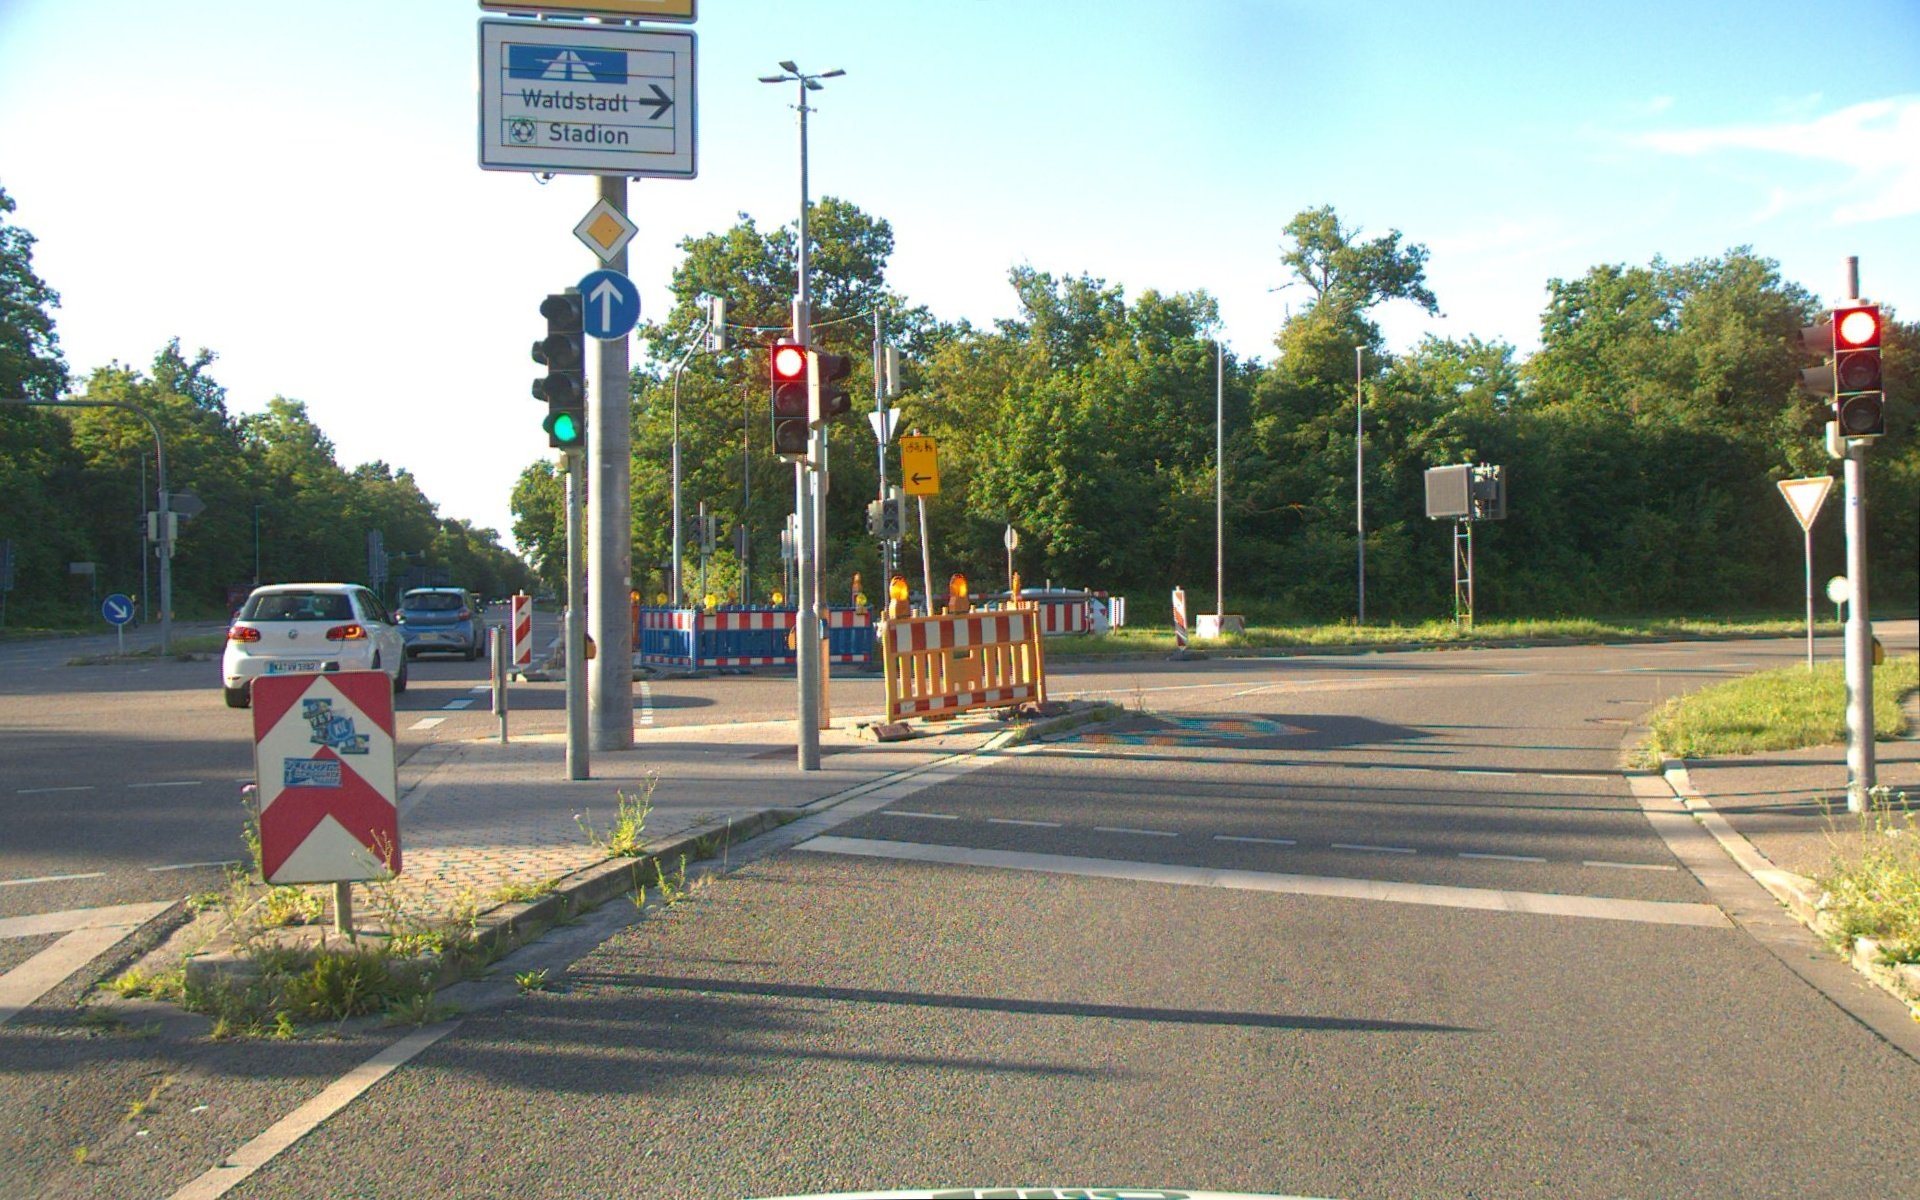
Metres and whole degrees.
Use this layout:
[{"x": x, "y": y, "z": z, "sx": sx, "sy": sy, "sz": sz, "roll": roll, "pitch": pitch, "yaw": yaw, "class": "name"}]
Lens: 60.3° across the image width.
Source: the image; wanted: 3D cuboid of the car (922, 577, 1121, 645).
[{"x": 1.576, "y": 0.244, "z": 41.738, "sx": 4.773, "sy": 1.608, "sz": 1.977, "roll": -1, "pitch": 0, "yaw": -33, "class": "car"}]

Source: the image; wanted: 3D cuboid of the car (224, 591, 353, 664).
[{"x": -14.388, "y": 0.548, "z": 35.644, "sx": 1.830, "sy": 1.469, "sz": 3.989, "roll": 0, "pitch": 0, "yaw": -11, "class": "car"}]

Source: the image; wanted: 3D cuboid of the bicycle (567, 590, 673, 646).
[{"x": -8.823, "y": 0.447, "z": 43.021, "sx": 2.619, "sy": 1.407, "sz": 0.953, "roll": 0, "pitch": 0, "yaw": -44, "class": "bicycle"}]

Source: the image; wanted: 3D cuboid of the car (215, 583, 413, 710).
[{"x": -8.160, "y": 0.526, "z": 21.222, "sx": 1.908, "sy": 1.439, "sz": 3.984, "roll": -1, "pitch": 0, "yaw": -15, "class": "car"}]

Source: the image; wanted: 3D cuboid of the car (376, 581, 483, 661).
[{"x": -11.260, "y": 0.412, "z": 35.346, "sx": 1.961, "sy": 1.563, "sz": 3.984, "roll": -1, "pitch": 0, "yaw": -15, "class": "car"}]

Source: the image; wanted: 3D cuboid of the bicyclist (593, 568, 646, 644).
[{"x": -8.858, "y": 0.147, "z": 42.995, "sx": 1.008, "sy": 1.963, "sz": 0.953, "roll": 0, "pitch": 0, "yaw": -43, "class": "bicyclist"}]
